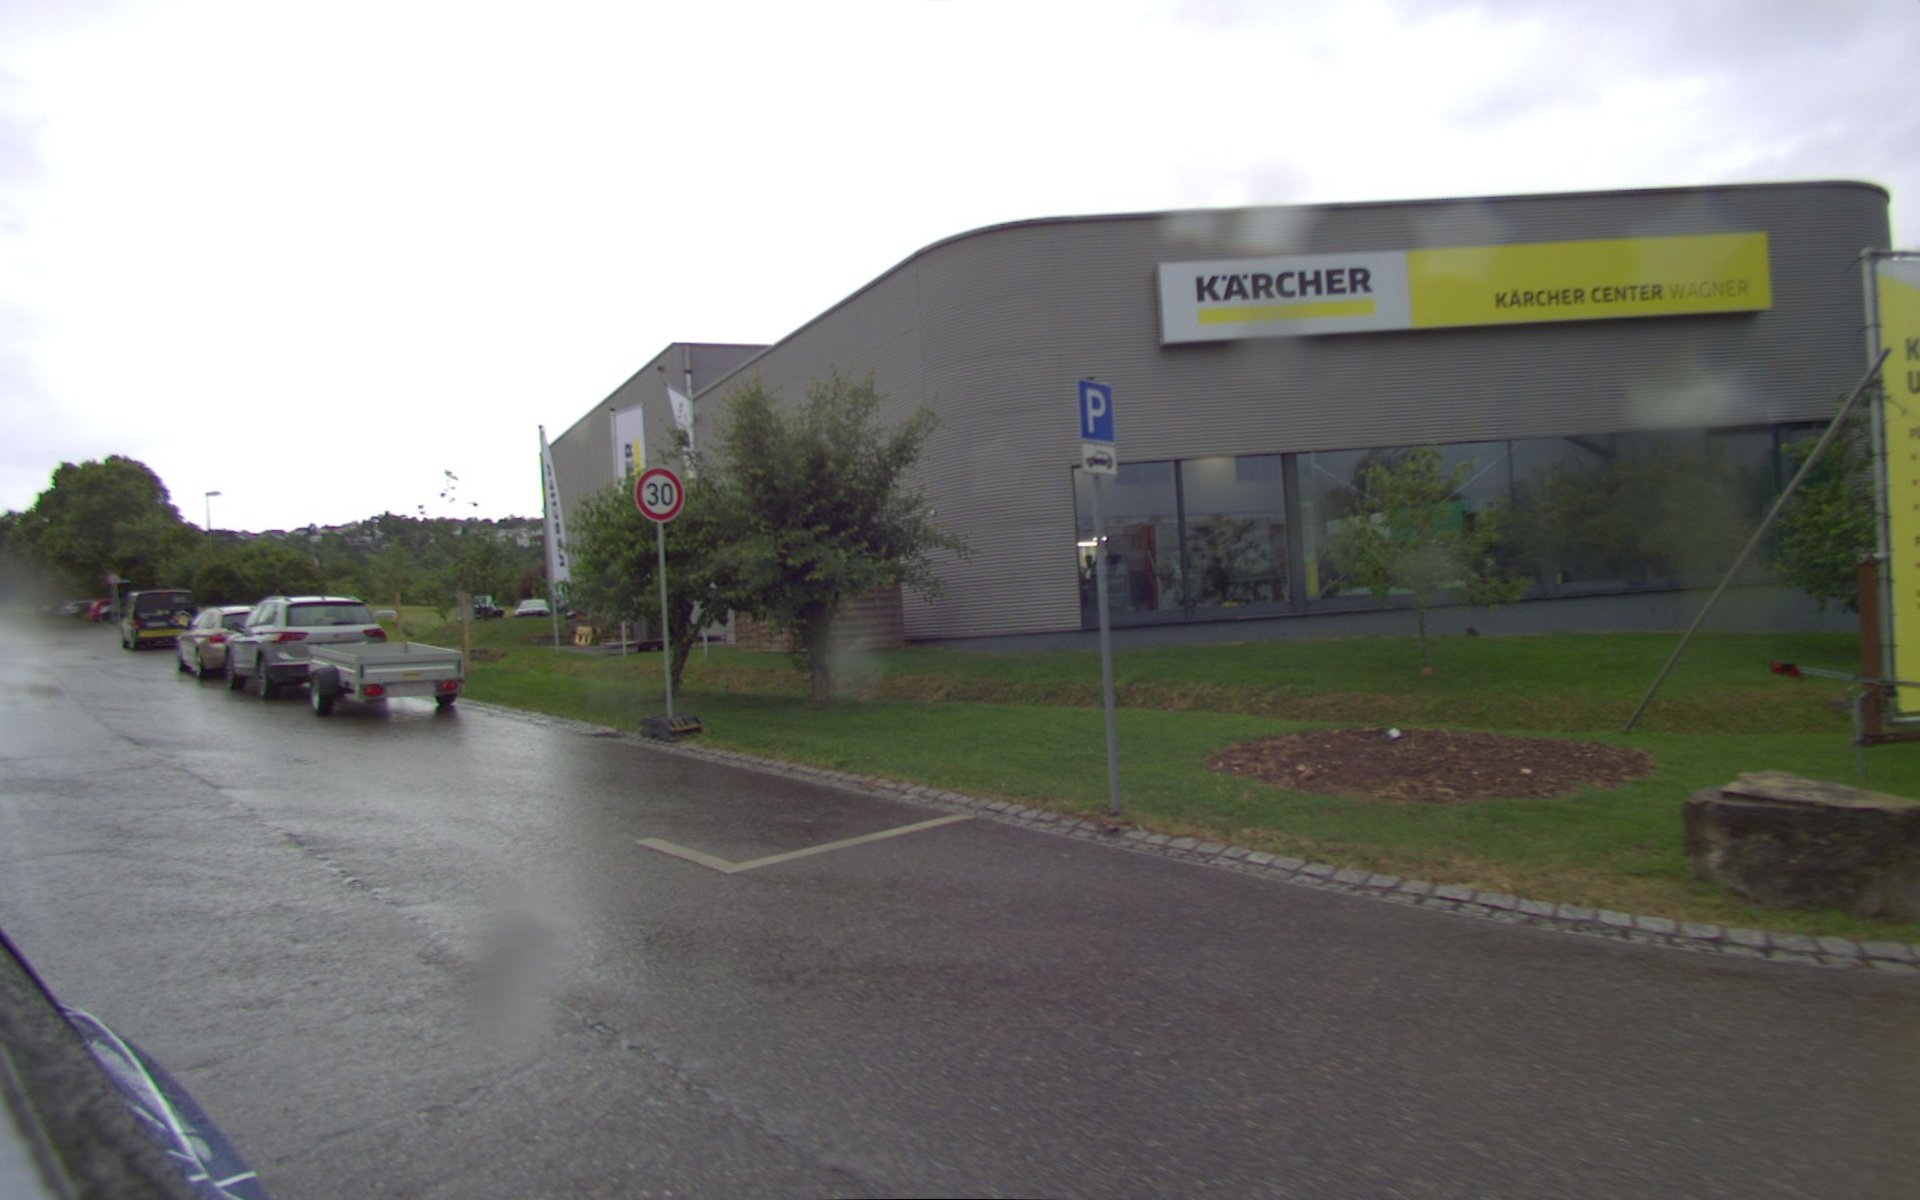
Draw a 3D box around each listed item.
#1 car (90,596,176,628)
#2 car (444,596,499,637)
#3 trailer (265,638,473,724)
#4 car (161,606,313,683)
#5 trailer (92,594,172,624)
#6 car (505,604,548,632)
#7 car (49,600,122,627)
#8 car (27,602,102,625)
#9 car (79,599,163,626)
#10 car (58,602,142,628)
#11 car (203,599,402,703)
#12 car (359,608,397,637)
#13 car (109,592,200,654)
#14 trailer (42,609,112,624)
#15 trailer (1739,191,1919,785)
[{"bbox_3d":[-53.881,0.727,65.987,4.248,1.920,1.864,-2,1,-42],"label":"car"},{"bbox_3d":[-25.843,0.911,53.708,2.099,1.936,5.627,-3,-1,-21],"label":"car"},{"bbox_3d":[-8.780,1.109,14.897,3.899,0.895,1.661,0,1,44],"label":"trailer"},{"bbox_3d":[-16.264,0.907,22.638,1.933,1.472,5.251,-2,1,-45],"label":"car"},{"bbox_3d":[-59.015,0.642,72.199,1.774,1.999,4.167,0,1,42],"label":"trailer"},{"bbox_3d":[-23.088,0.924,54.018,1.965,1.407,4.706,-1,0,-21],"label":"car"},{"bbox_3d":[-67.527,1.018,78.137,2.026,1.734,4.029,0,3,44],"label":"car"},{"bbox_3d":[-73.495,1.105,83.140,2.042,1.734,4.325,0,1,38],"label":"car"},{"bbox_3d":[-57.591,0.836,69.512,1.753,1.734,4.154,0,1,39],"label":"car"},{"bbox_3d":[-65.041,1.100,76.591,1.806,1.601,4.569,0,3,42],"label":"car"},{"bbox_3d":[-11.828,0.782,18.049,4.841,1.588,1.935,0,1,44],"label":"car"},{"bbox_3d":[-41.390,1.624,72.064,1.965,1.767,4.397,-1,-3,-25],"label":"car"},{"bbox_3d":[-26.451,0.694,33.176,1.893,1.845,4.852,-2,1,-43],"label":"car"},{"bbox_3d":[-69.599,1.325,79.796,1.999,0.968,3.901,-1,2,40],"label":"trailer"},{"bbox_3d":[8.854,-0.825,7.875,4.121,4.235,2.009,-1,0,-6],"label":"trailer"}]
